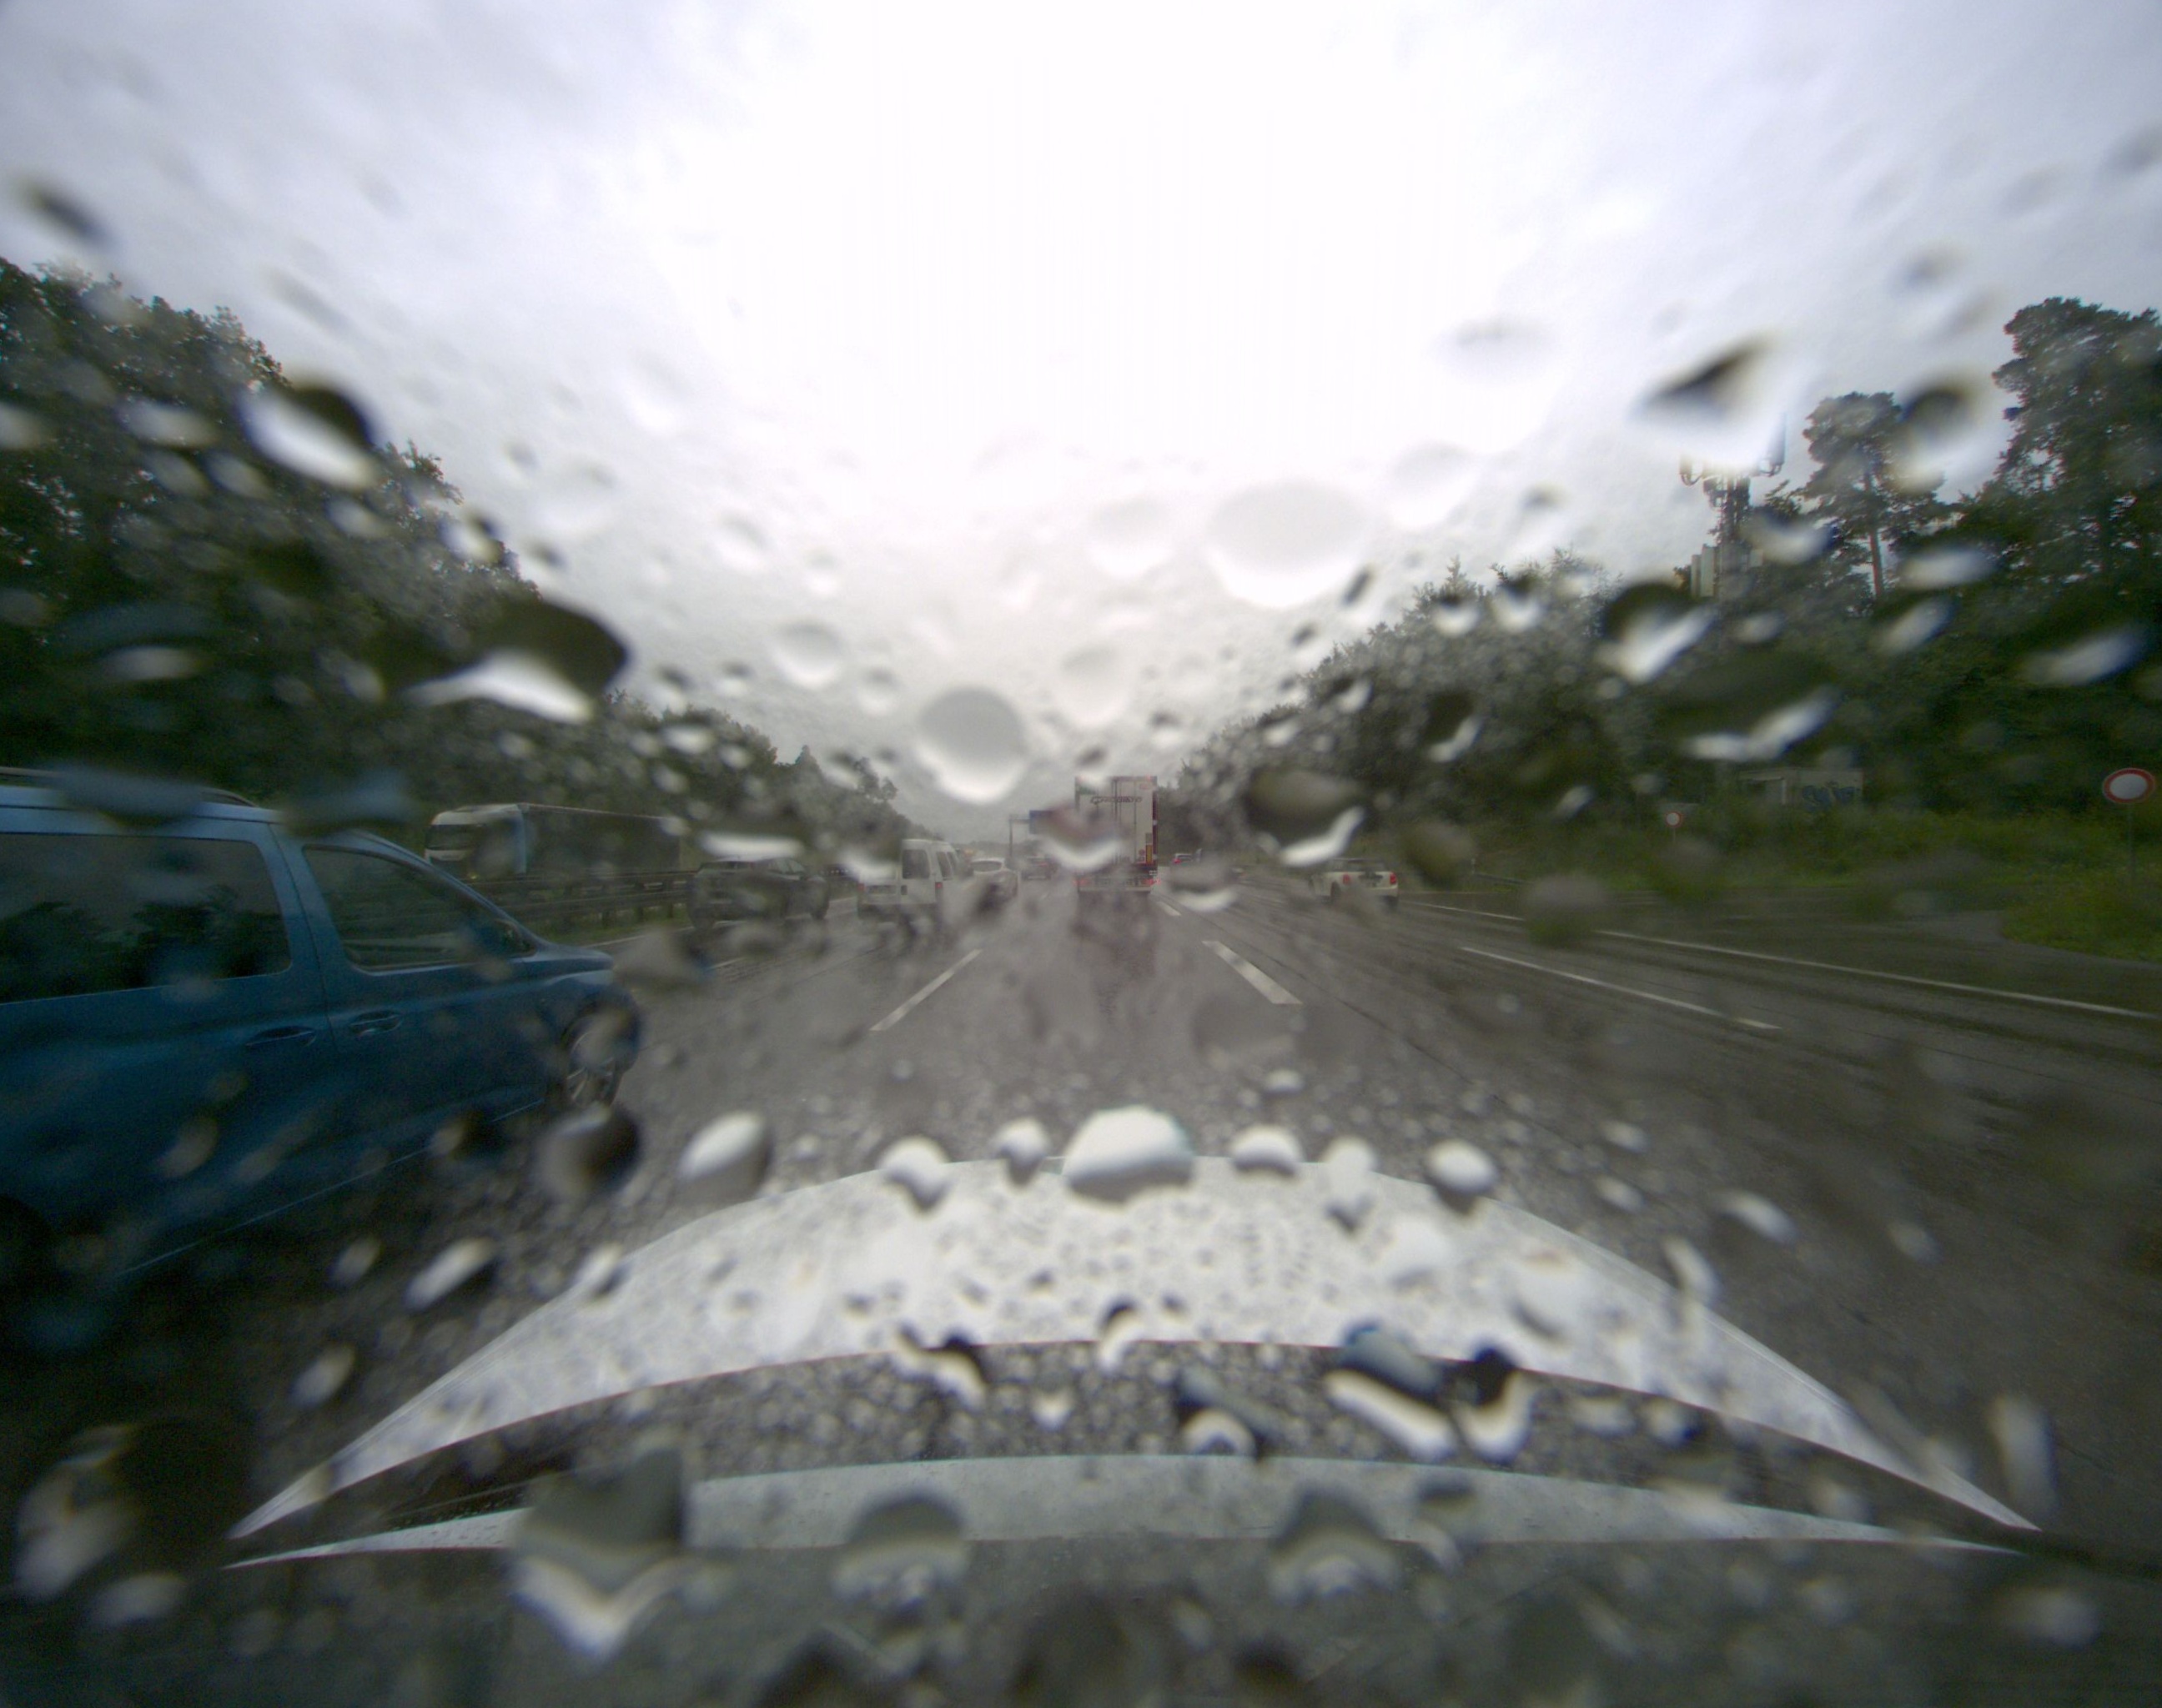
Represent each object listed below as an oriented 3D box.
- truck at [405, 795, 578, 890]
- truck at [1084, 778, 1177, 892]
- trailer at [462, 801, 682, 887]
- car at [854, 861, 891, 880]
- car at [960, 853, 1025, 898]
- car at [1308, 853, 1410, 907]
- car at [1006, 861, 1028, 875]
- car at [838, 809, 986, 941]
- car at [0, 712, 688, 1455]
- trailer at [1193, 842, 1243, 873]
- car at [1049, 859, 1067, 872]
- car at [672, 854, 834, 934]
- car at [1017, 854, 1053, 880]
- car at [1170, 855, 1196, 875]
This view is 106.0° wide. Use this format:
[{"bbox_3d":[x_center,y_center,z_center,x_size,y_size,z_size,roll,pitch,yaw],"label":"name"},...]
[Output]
[{"bbox_3d":[-26.077,-0.478,36.469,3.009,3.818,6.266,-1,0,1],"label":"truck"},{"bbox_3d":[1.792,-0.557,31.186,2.861,3.562,11.308,0,0,2],"label":"truck"},{"bbox_3d":[-26.043,-0.475,43.132,3.014,3.818,13.560,-1,0,0],"label":"trailer"},{"bbox_3d":[-18.172,1.412,71.130,1.987,1.507,4.707,-1,0,1],"label":"car"},{"bbox_3d":[-3.328,0.761,31.456,1.838,1.591,4.075,0,0,3],"label":"car"},{"bbox_3d":[7.974,0.681,23.726,1.782,1.407,4.232,0,0,4],"label":"car"},{"bbox_3d":[-6.514,1.383,83.430,1.840,1.330,4.466,0,0,0],"label":"car"},{"bbox_3d":[-3.624,0.398,18.530,2.205,2.573,5.016,0,0,1],"label":"car"},{"bbox_3d":[-3.864,0.593,2.831,2.259,1.912,5.021,0,0,4],"label":"car"},{"bbox_3d":[8.137,0.181,48.850,2.235,1.714,5.084,0,0,1],"label":"trailer"},{"bbox_3d":[-2.520,1.251,90.974,1.840,1.330,4.466,0,0,0],"label":"car"},{"bbox_3d":[-7.315,0.807,18.729,1.839,1.591,4.467,0,0,1],"label":"car"},{"bbox_3d":[-2.966,0.798,53.224,1.838,1.591,4.469,0,0,3],"label":"car"},{"bbox_3d":[8.656,0.914,69.656,1.981,1.583,4.773,0,0,4],"label":"car"}]
